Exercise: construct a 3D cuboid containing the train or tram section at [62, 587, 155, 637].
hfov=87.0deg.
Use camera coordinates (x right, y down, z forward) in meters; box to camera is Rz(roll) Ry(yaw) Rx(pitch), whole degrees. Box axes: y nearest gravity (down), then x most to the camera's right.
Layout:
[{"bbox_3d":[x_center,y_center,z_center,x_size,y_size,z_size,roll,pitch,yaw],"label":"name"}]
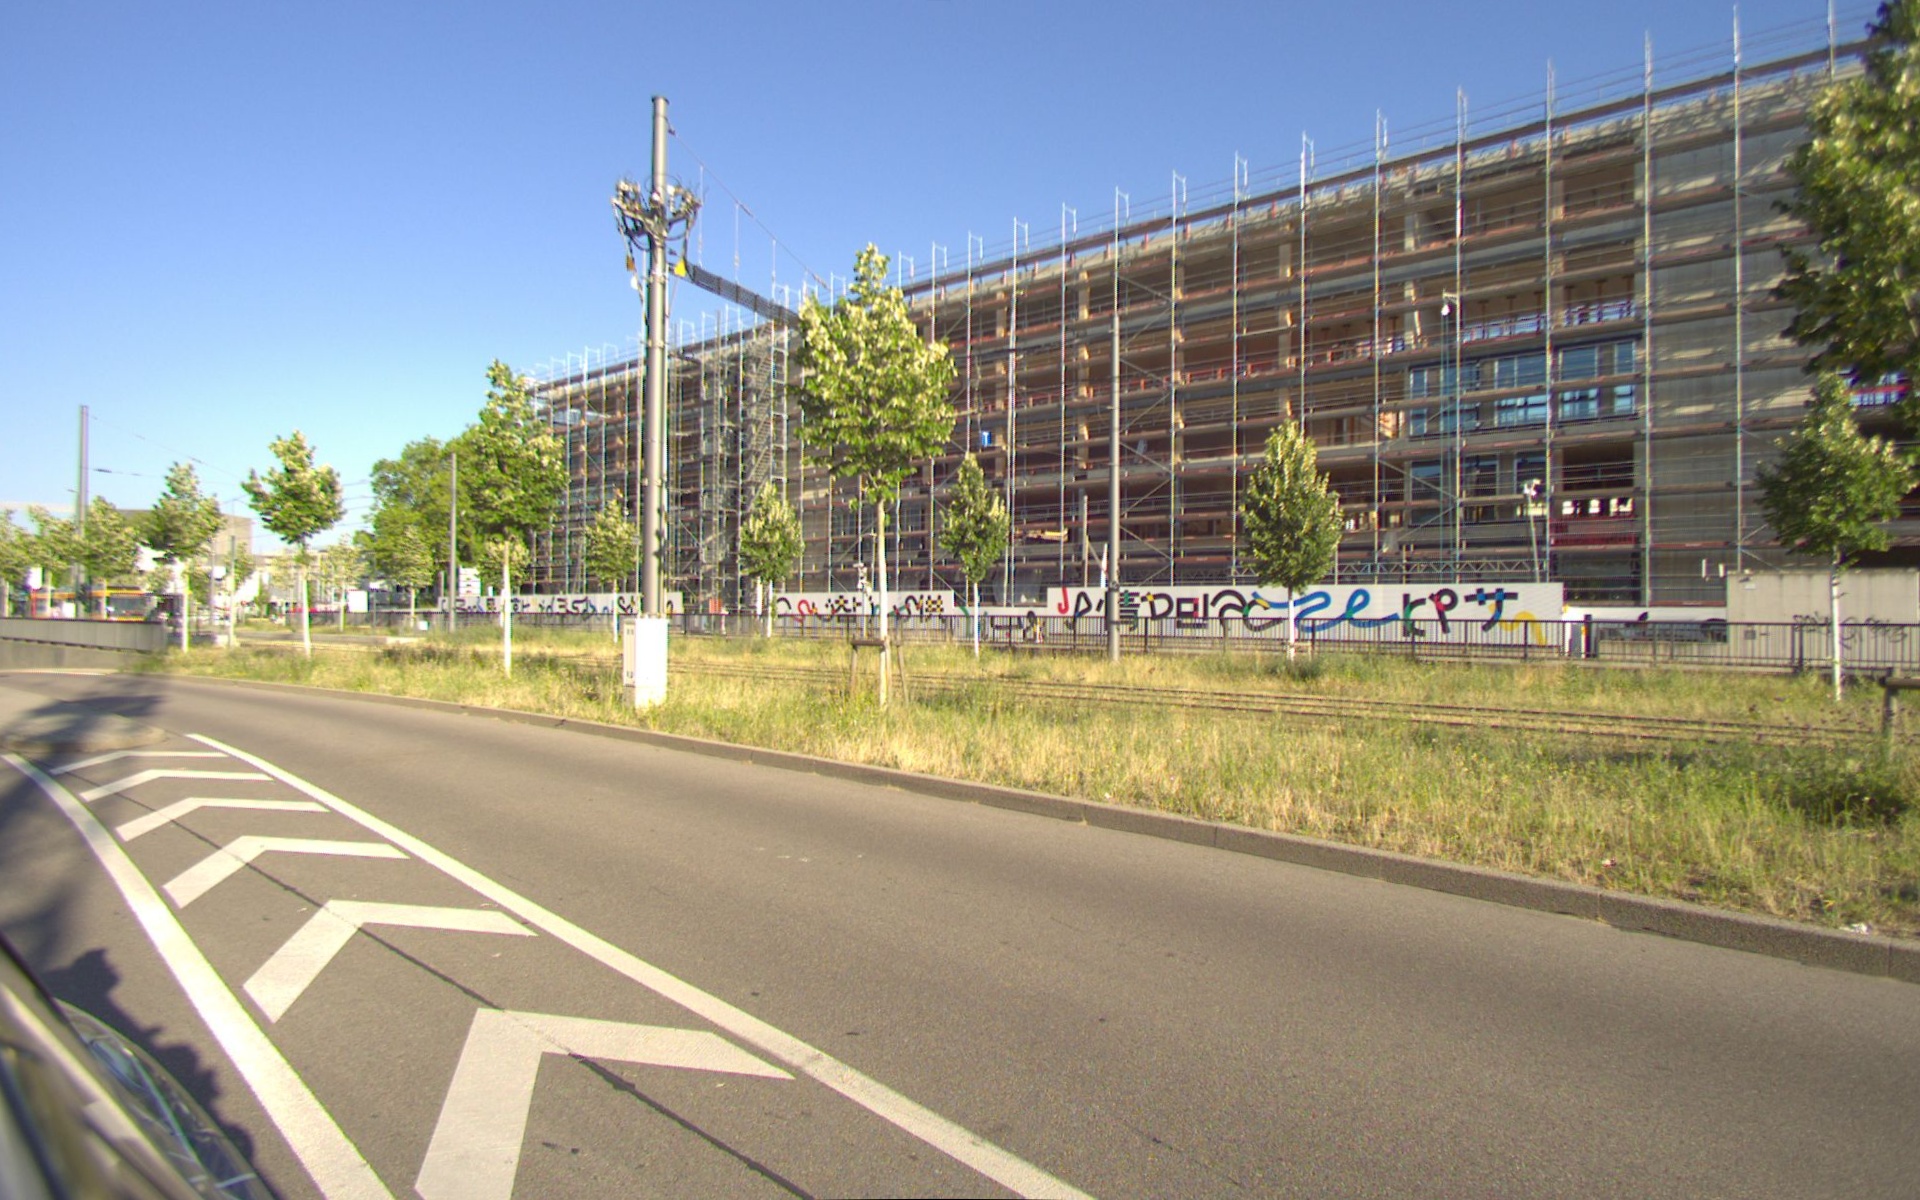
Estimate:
[{"bbox_3d":[-62.967,0.865,74.713,12.619,3.423,2.917,0,0,39],"label":"train or tram section"}]
